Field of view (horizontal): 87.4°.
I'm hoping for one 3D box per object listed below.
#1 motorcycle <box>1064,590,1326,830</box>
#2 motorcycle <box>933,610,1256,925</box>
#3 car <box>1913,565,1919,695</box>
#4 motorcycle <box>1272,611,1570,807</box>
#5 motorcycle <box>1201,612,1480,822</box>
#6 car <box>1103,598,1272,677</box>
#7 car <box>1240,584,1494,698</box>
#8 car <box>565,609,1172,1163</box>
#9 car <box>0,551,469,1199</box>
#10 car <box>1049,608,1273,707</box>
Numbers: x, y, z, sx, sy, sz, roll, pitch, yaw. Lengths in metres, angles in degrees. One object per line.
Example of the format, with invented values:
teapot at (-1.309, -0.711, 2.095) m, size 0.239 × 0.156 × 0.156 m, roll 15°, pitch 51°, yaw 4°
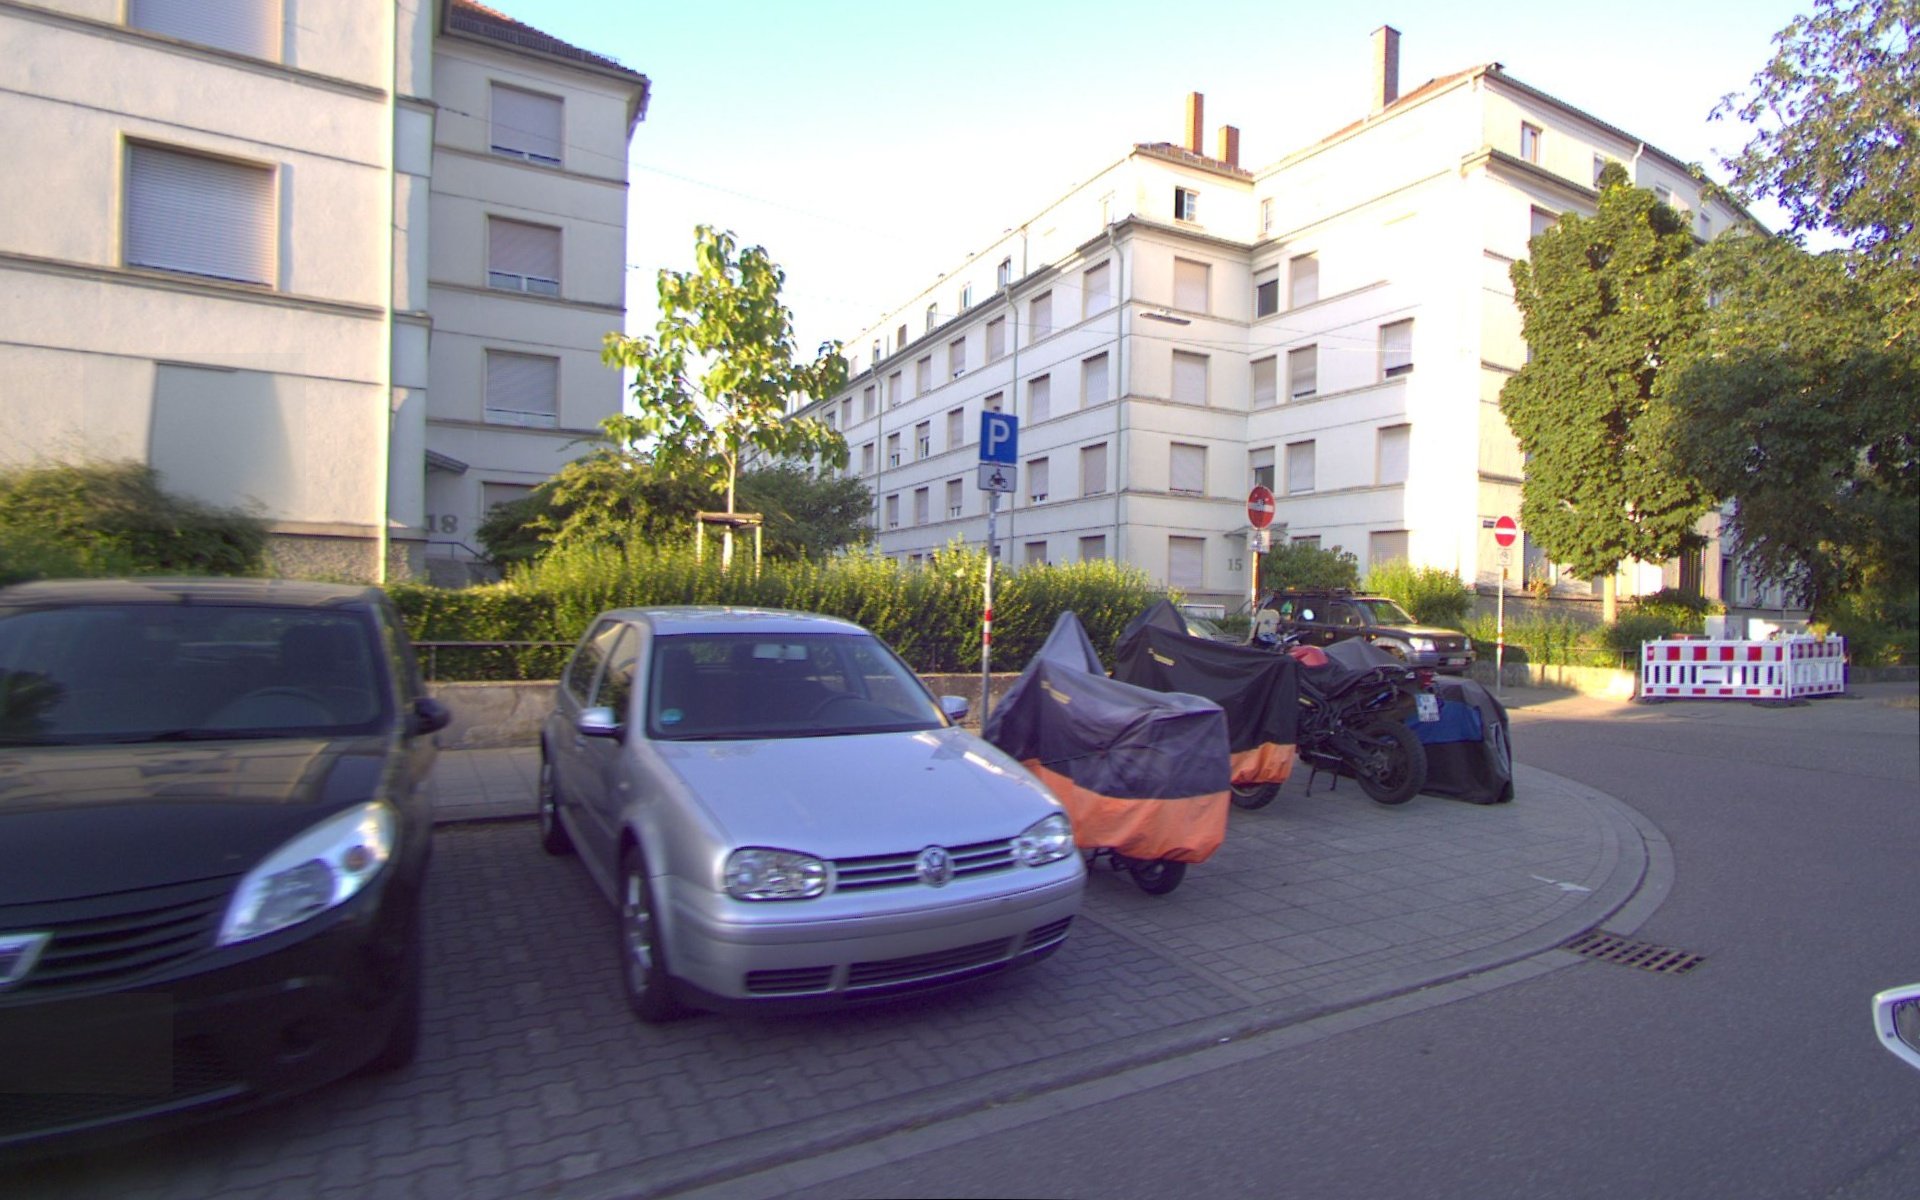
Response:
motorcycle at (1.738, 0.743, 7.896) m, size 0.763 × 1.603 × 2.224 m, roll 2°, pitch 0°, yaw -25°
motorcycle at (0.670, 0.806, 5.770) m, size 0.714 × 1.455 × 1.974 m, roll 2°, pitch 0°, yaw -33°
car at (21.200, 0.643, 18.633) m, size 1.975 × 2.603 × 4.712 m, roll 2°, pitch 0°, yaw -28°
motorcycle at (3.944, 0.852, 8.876) m, size 0.869 × 1.455 × 2.375 m, roll 2°, pitch 0°, yaw -25°
motorcycle at (3.020, 0.850, 8.270) m, size 0.763 × 1.455 × 2.224 m, roll 2°, pitch 0°, yaw -25°
car at (5.640, 0.885, 25.379) m, size 1.977 × 1.805 × 3.967 m, roll 2°, pitch 0°, yaw -31°
car at (8.105, 0.755, 20.471) m, size 1.976 × 2.040 × 4.556 m, roll 2°, pitch 0°, yaw -29°
car at (-0.825, 0.849, 4.893) m, size 1.668 × 1.526 × 3.699 m, roll 2°, pitch 0°, yaw -27°
car at (-2.916, 0.691, 3.980) m, size 1.706 × 1.604 × 3.973 m, roll 2°, pitch 0°, yaw -26°
car at (3.372, 0.916, 17.472) m, size 1.807 × 1.484 × 3.747 m, roll 2°, pitch 0°, yaw -30°
